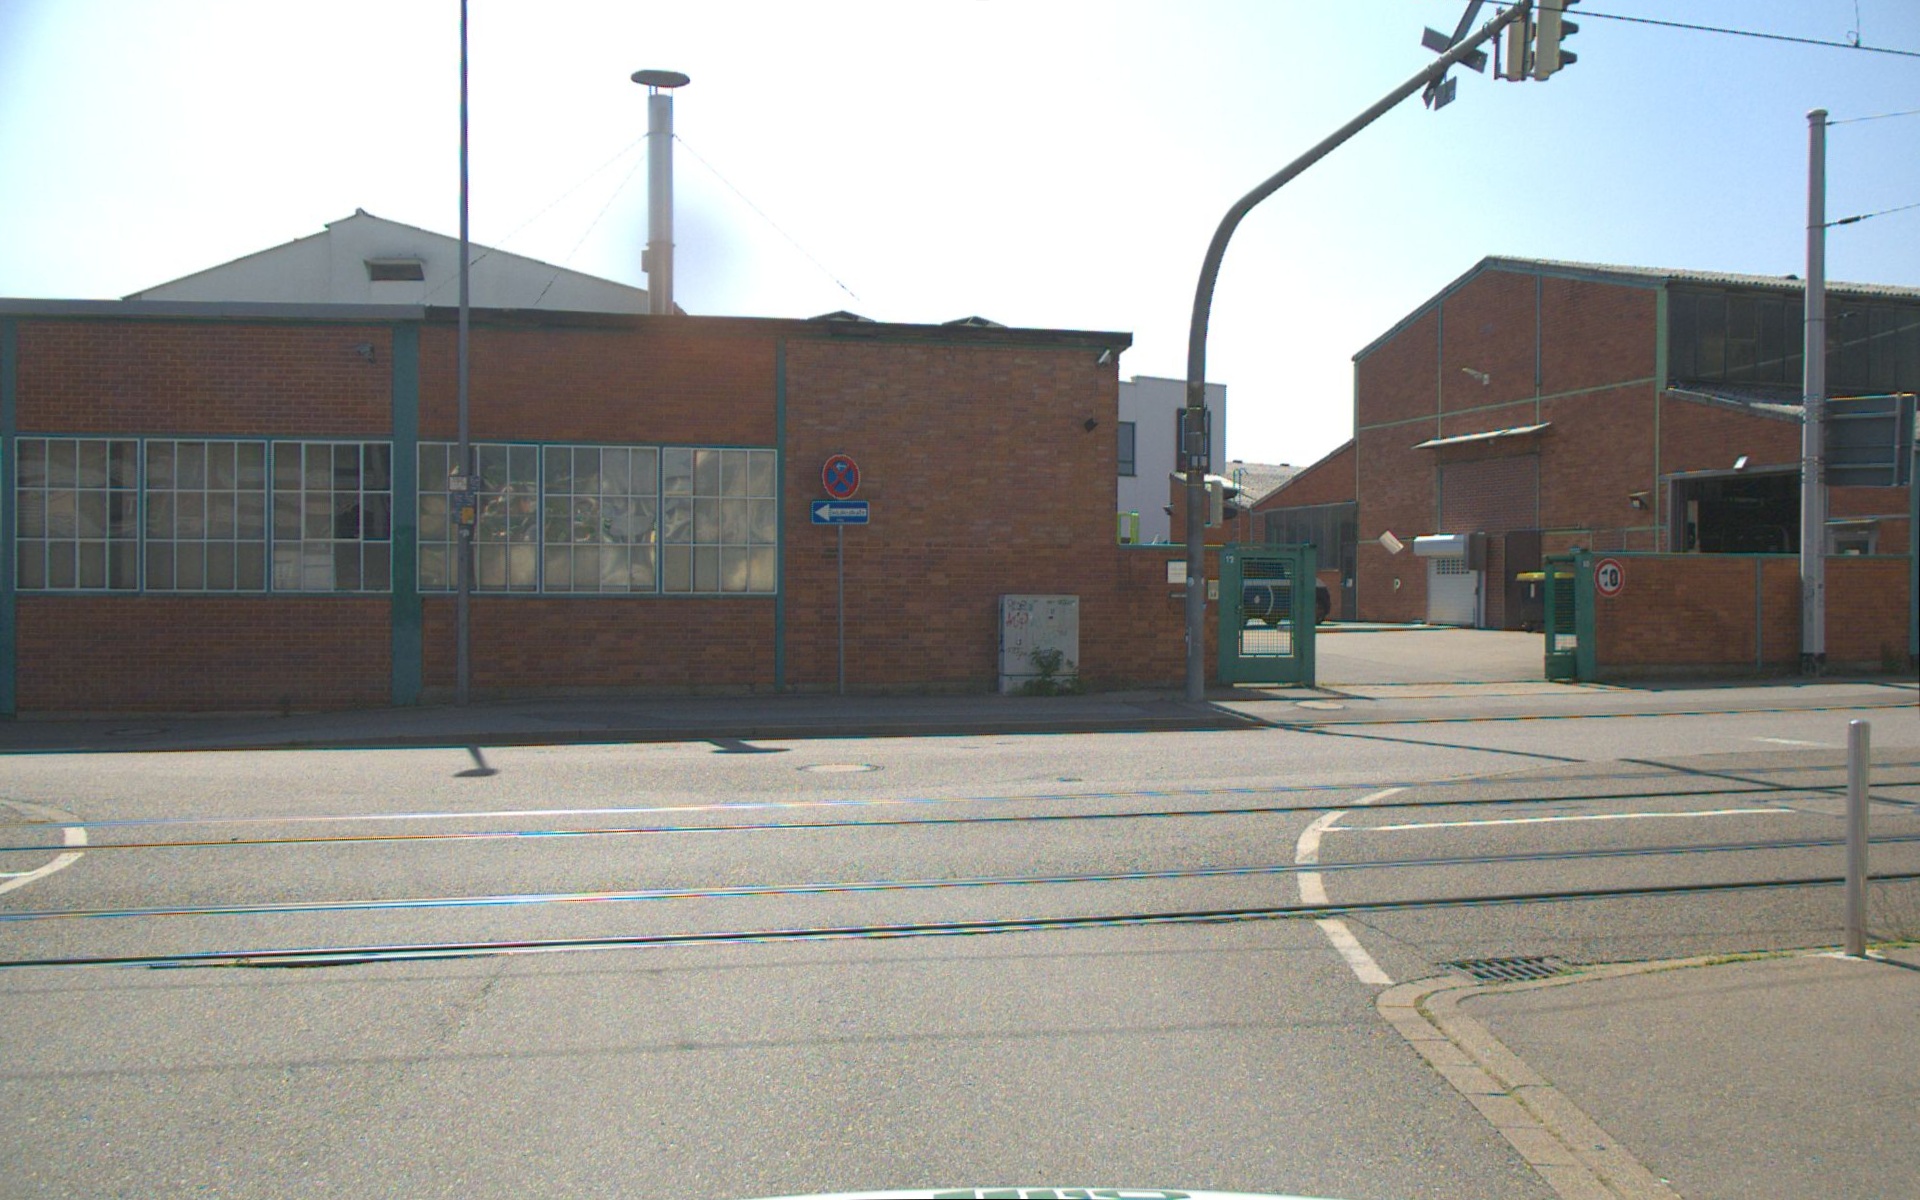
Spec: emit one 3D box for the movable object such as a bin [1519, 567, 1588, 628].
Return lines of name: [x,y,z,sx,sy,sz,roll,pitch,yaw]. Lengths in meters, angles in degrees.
movable object such as a bin: [13.339,-0.060,37.187,0.959,1.337,1.147,-1,1,-17]

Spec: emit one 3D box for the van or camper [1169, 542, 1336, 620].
van or camper: [7.943,-0.485,44.725,4.372,1.933,1.975,2,0,-36]
